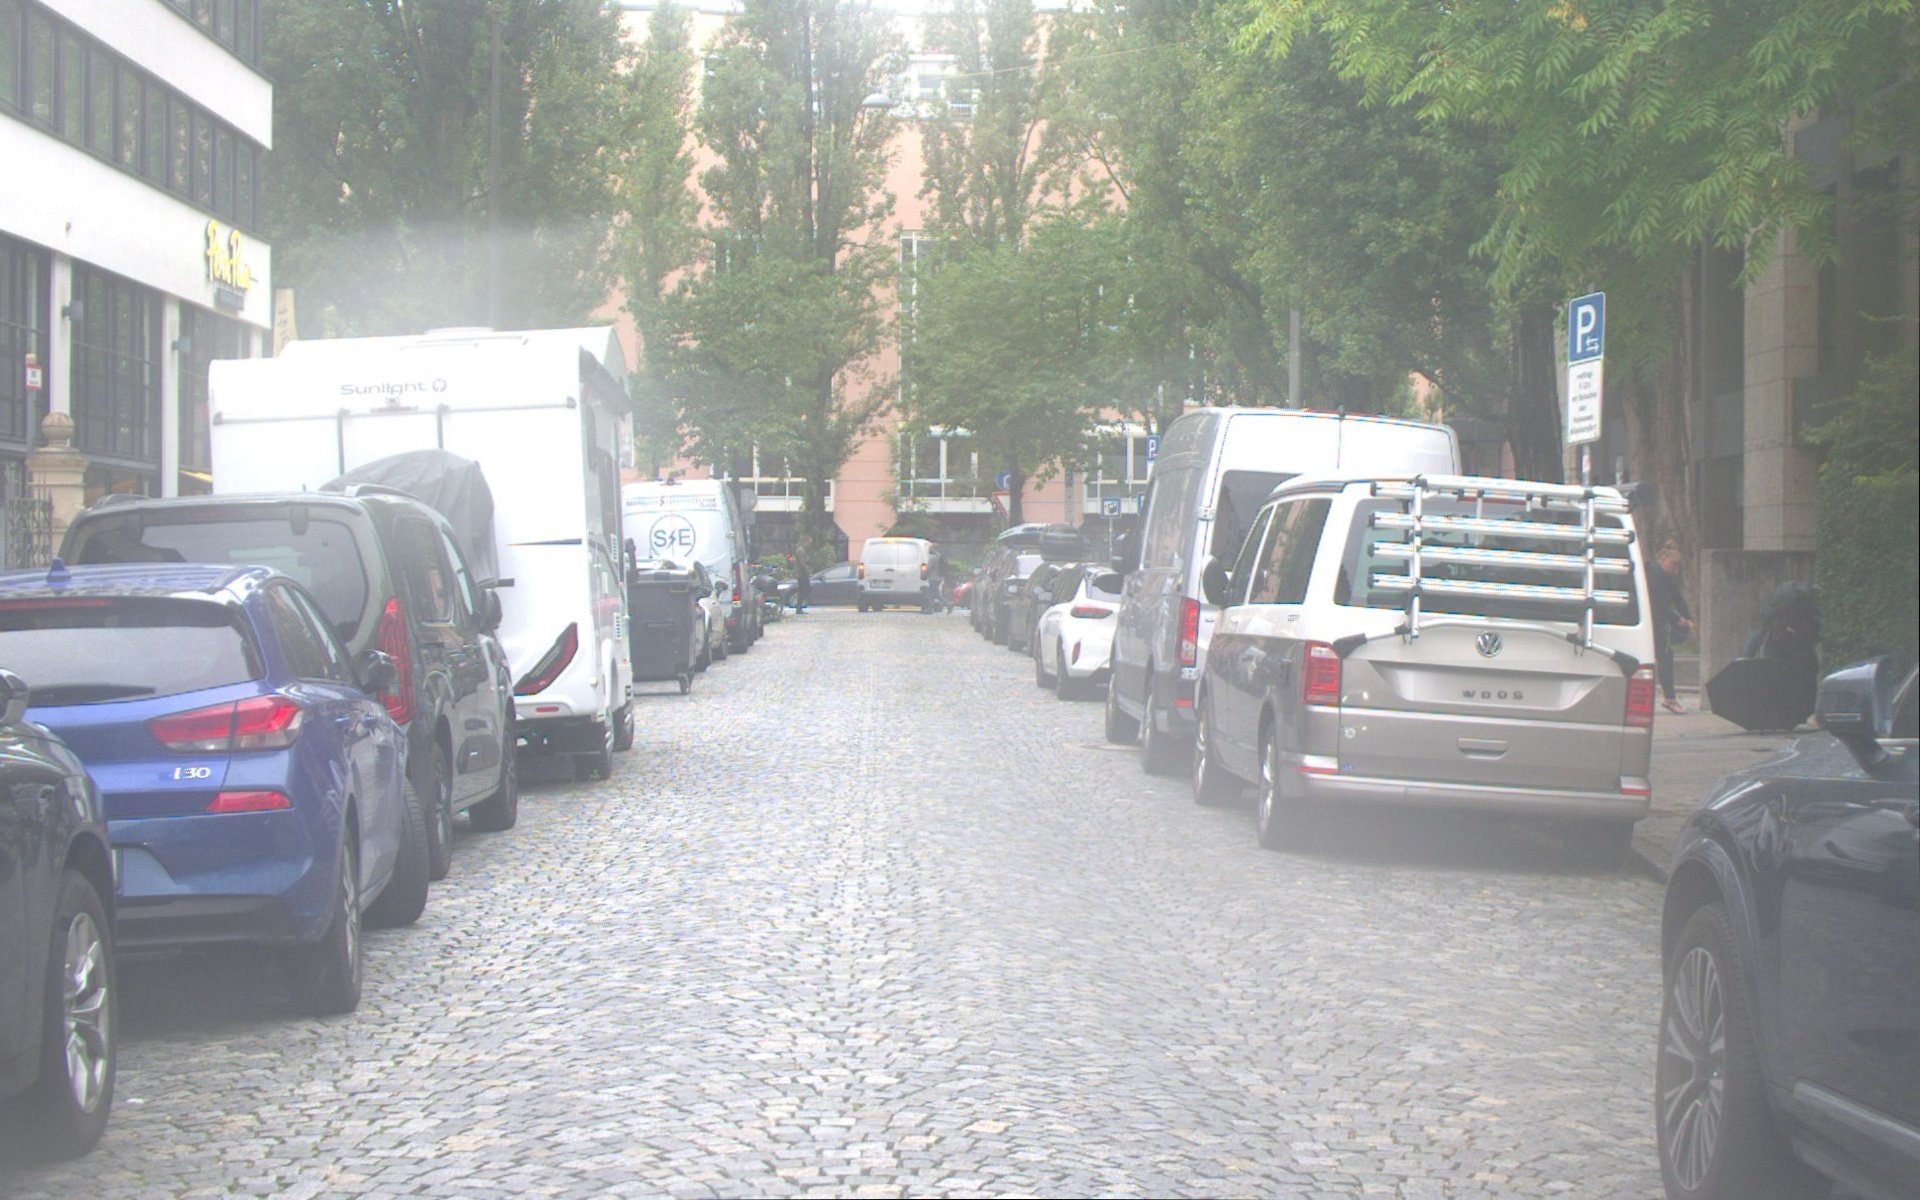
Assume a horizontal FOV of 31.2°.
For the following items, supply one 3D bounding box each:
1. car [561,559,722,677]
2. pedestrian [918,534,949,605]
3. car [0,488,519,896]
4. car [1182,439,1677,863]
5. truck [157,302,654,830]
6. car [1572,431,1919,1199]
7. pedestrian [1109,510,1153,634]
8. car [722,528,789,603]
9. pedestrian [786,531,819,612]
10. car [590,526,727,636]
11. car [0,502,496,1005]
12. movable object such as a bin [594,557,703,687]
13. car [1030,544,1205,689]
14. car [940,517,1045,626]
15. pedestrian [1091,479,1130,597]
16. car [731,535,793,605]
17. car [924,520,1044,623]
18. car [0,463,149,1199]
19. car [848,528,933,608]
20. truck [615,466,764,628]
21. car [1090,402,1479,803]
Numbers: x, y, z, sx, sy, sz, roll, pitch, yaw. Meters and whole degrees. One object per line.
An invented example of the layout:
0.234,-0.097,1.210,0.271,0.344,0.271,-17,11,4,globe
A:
-3.755,0.186,40.977,1.662,1.325,3.548,1,1,-1,car
-0.630,-0.724,81.849,0.687,1.681,0.500,1,1,2,pedestrian
-3.289,0.353,16.926,1.894,1.745,4.168,0,1,-3,car
2.417,0.219,18.970,1.800,1.943,4.861,3,1,-2,car
-3.510,-0.275,23.242,2.508,3.021,6.385,-1,1,-2,truck
2.596,0.602,6.065,1.963,1.753,4.955,1,1,-2,car
3.055,-0.497,61.406,0.711,2.184,0.813,1,0,0,pedestrian
-4.319,-0.723,72.850,1.290,1.534,3.119,1,1,-1,car
-3.734,-0.672,81.404,0.725,1.904,0.641,1,0,1,pedestrian
-4.186,-0.273,48.133,1.662,1.450,3.548,1,1,-1,car
-2.802,0.423,12.057,1.940,1.454,4.058,1,1,-2,car
-3.340,0.228,36.953,1.064,1.359,1.290,1,0,-1,movable object such as a bin
1.668,0.152,37.248,1.599,1.481,3.479,1,1,-2,car
0.582,-0.530,63.777,1.868,1.954,4.000,1,1,0,car
3.125,-1.299,71.412,0.711,2.417,0.813,-2,2,0,pedestrian
-4.458,-0.685,77.662,1.276,1.536,3.119,1,1,-1,car
0.374,-0.466,55.754,1.868,1.599,3.272,1,1,0,car
-2.917,0.556,6.693,1.773,1.712,4.391,1,1,-2,car
-1.705,-0.796,85.375,1.996,1.929,4.000,1,1,0,car
-4.071,-0.794,52.300,1.993,2.338,4.068,1,0,-1,truck
2.171,-0.053,24.680,1.895,2.418,5.612,4,1,-2,car
